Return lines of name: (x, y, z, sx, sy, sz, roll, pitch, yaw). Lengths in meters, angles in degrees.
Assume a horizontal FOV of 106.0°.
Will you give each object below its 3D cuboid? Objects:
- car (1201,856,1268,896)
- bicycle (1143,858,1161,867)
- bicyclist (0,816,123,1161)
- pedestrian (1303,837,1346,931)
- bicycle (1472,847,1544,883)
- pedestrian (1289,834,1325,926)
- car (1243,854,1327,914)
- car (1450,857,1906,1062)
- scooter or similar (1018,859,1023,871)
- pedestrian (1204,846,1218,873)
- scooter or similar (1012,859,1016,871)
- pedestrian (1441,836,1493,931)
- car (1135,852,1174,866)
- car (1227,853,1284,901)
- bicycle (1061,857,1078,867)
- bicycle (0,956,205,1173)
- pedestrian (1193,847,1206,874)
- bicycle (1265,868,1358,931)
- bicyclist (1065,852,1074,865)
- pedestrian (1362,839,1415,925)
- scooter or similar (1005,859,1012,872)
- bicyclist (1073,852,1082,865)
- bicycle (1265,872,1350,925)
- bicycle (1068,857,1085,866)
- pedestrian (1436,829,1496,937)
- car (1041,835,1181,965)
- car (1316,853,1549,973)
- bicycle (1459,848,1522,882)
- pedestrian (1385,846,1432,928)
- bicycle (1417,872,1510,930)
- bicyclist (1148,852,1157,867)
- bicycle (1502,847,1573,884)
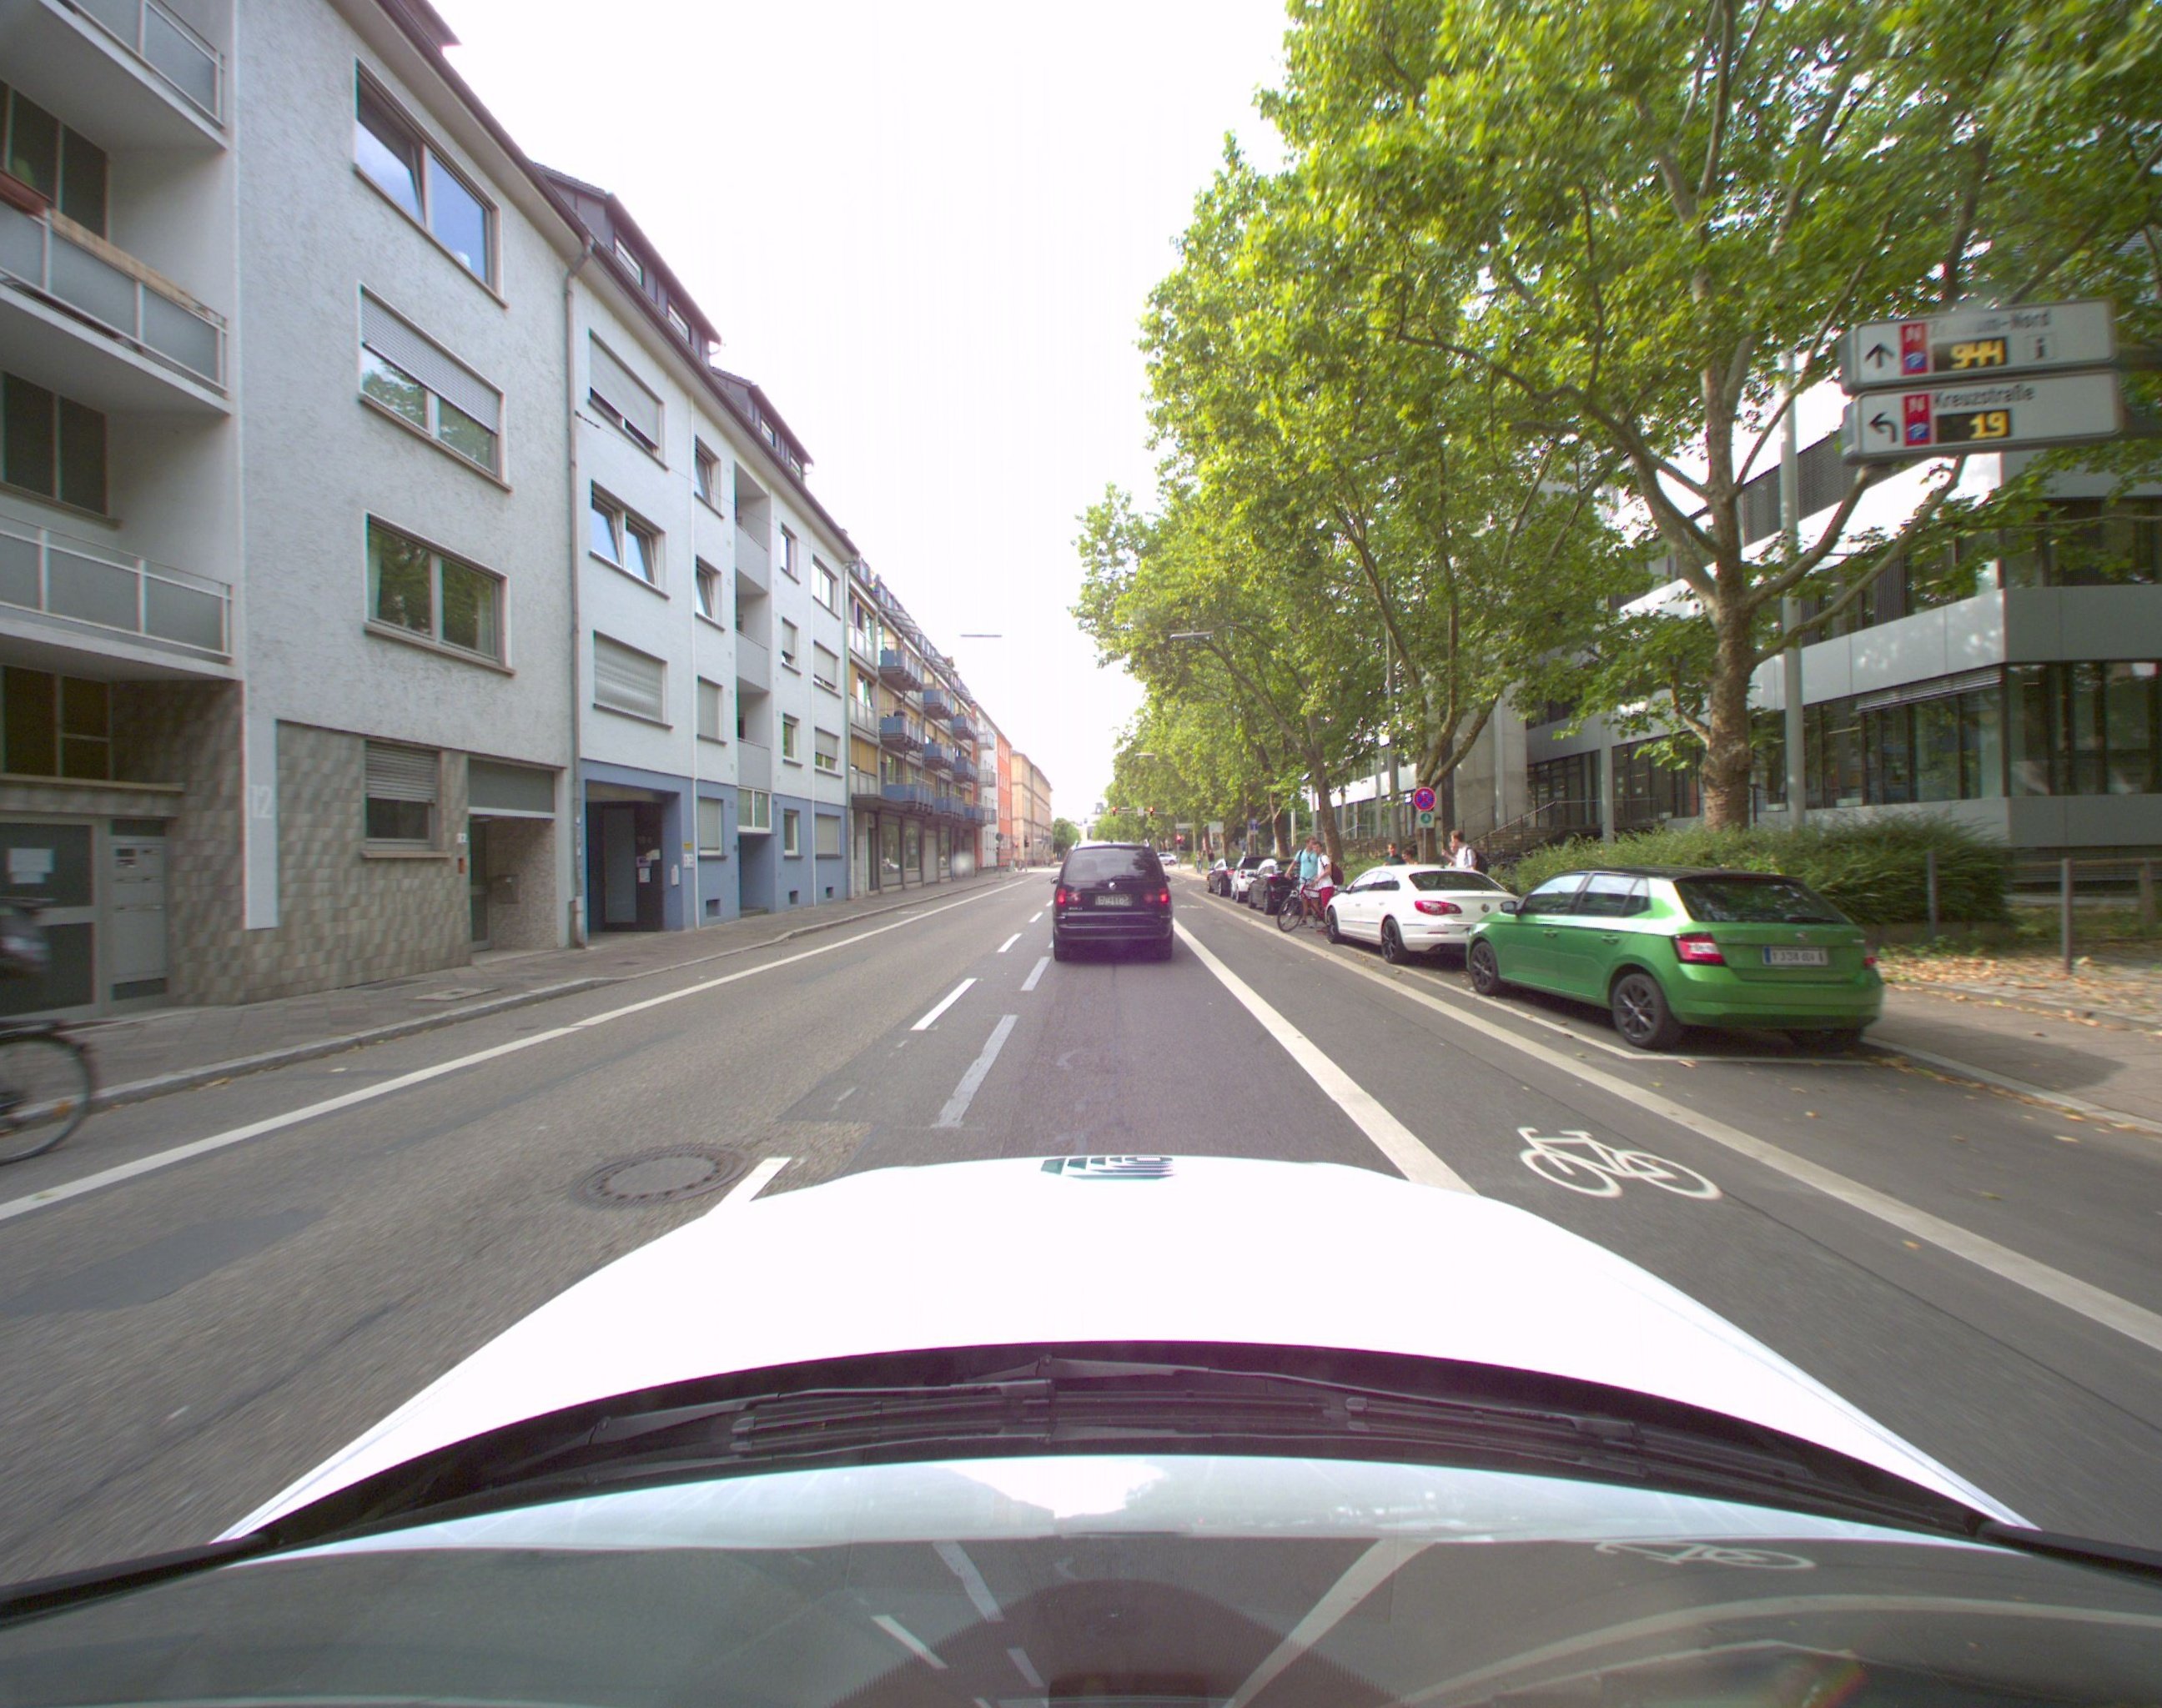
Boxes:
car: (5.846, 0.808, 31.423, 1.692, 1.425, 4.420, 0, 0, -1)
bicycle: (7.653, 0.926, 88.046, 1.922, 1.028, 0.582, 0, 0, -7)
bicyclist: (-6.007, 0.714, 4.282, 0.649, 1.811, 1.046, -2, -1, 2)
pedestrian: (4.876, 0.584, 16.314, 0.520, 1.845, 0.741, 0, 0, -13)
bicycle: (14.615, 0.378, 27.897, 2.071, 1.117, 0.673, -2, 0, 1)
pedestrian: (4.880, 0.550, 17.604, 0.474, 1.934, 0.742, 0, 0, -9)
car: (5.541, 0.760, 22.466, 1.522, 1.502, 3.662, 0, 0, 2)
car: (5.211, 0.777, 7.825, 1.582, 1.450, 3.804, 1, 0, 0)
scooter or similar: (-6.071, 1.088, 81.641, 0.377, 1.144, 1.141, -1, -2, -2)
pedestrian: (9.016, 0.362, 56.503, 0.712, 1.800, 1.033, -3, -1, 0)
scooter or similar: (-6.676, 1.101, 81.108, 0.377, 1.147, 1.141, -1, -2, -2)
pedestrian: (7.650, 0.573, 16.172, 0.718, 1.855, 0.704, 0, 0, 1)
car: (8.342, 0.533, 92.142, 4.079, 1.427, 1.760, -3, 0, -6)
car: (5.806, 0.739, 27.286, 1.528, 1.543, 2.602, 0, 0, 4)
bicycle: (-1.318, 0.908, 92.137, 1.924, 1.028, 0.581, 0, 0, -9)
bicycle: (-5.995, 1.174, 4.196, 0.643, 1.014, 2.077, -2, 0, 2)
pedestrian: (8.232, 0.452, 56.521, 0.708, 1.783, 1.033, -3, -1, 0)
bicycle: (4.691, 0.902, 16.569, 1.793, 1.217, 0.550, 0, 0, -16)
bicyclist: (-1.298, 0.556, 92.142, 0.914, 1.466, 0.568, 0, 0, -9)
pedestrian: (6.686, 0.599, 17.748, 0.867, 1.816, 0.780, 0, 0, 1)
scooter or similar: (-6.667, 1.075, 74.856, 0.376, 1.184, 1.390, -1, -2, 2)
bicyclist: (-0.411, 0.552, 93.991, 0.914, 1.466, 0.568, 0, 0, -9)
bicycle: (4.967, 0.968, 17.870, 1.734, 1.105, 0.550, 0, 0, -10)
bicycle: (-0.479, 0.898, 93.975, 1.924, 1.028, 0.581, 0, 0, -9)
pedestrian: (7.292, 0.532, 15.453, 0.790, 1.997, 0.750, 0, 0, 1)
car: (0.436, 0.622, 13.357, 1.867, 1.745, 4.573, -1, 0, 0)
car: (5.209, 0.765, 12.810, 1.675, 1.516, 4.543, 1, 0, 0)
bicycle: (14.684, 0.389, 29.233, 1.908, 1.117, 0.673, -2, 0, 1)
pedestrian: (6.816, 0.674, 16.958, 0.718, 1.658, 0.655, 0, 0, 1)
bicycle: (7.732, 0.945, 16.481, 1.767, 1.132, 0.461, 0, 0, -11)
bicyclist: (7.692, 0.576, 88.054, 0.854, 1.567, 0.576, 0, -1, -7)
bicycle: (15.038, 0.367, 26.847, 1.908, 1.117, 0.673, -2, 0, 1)
